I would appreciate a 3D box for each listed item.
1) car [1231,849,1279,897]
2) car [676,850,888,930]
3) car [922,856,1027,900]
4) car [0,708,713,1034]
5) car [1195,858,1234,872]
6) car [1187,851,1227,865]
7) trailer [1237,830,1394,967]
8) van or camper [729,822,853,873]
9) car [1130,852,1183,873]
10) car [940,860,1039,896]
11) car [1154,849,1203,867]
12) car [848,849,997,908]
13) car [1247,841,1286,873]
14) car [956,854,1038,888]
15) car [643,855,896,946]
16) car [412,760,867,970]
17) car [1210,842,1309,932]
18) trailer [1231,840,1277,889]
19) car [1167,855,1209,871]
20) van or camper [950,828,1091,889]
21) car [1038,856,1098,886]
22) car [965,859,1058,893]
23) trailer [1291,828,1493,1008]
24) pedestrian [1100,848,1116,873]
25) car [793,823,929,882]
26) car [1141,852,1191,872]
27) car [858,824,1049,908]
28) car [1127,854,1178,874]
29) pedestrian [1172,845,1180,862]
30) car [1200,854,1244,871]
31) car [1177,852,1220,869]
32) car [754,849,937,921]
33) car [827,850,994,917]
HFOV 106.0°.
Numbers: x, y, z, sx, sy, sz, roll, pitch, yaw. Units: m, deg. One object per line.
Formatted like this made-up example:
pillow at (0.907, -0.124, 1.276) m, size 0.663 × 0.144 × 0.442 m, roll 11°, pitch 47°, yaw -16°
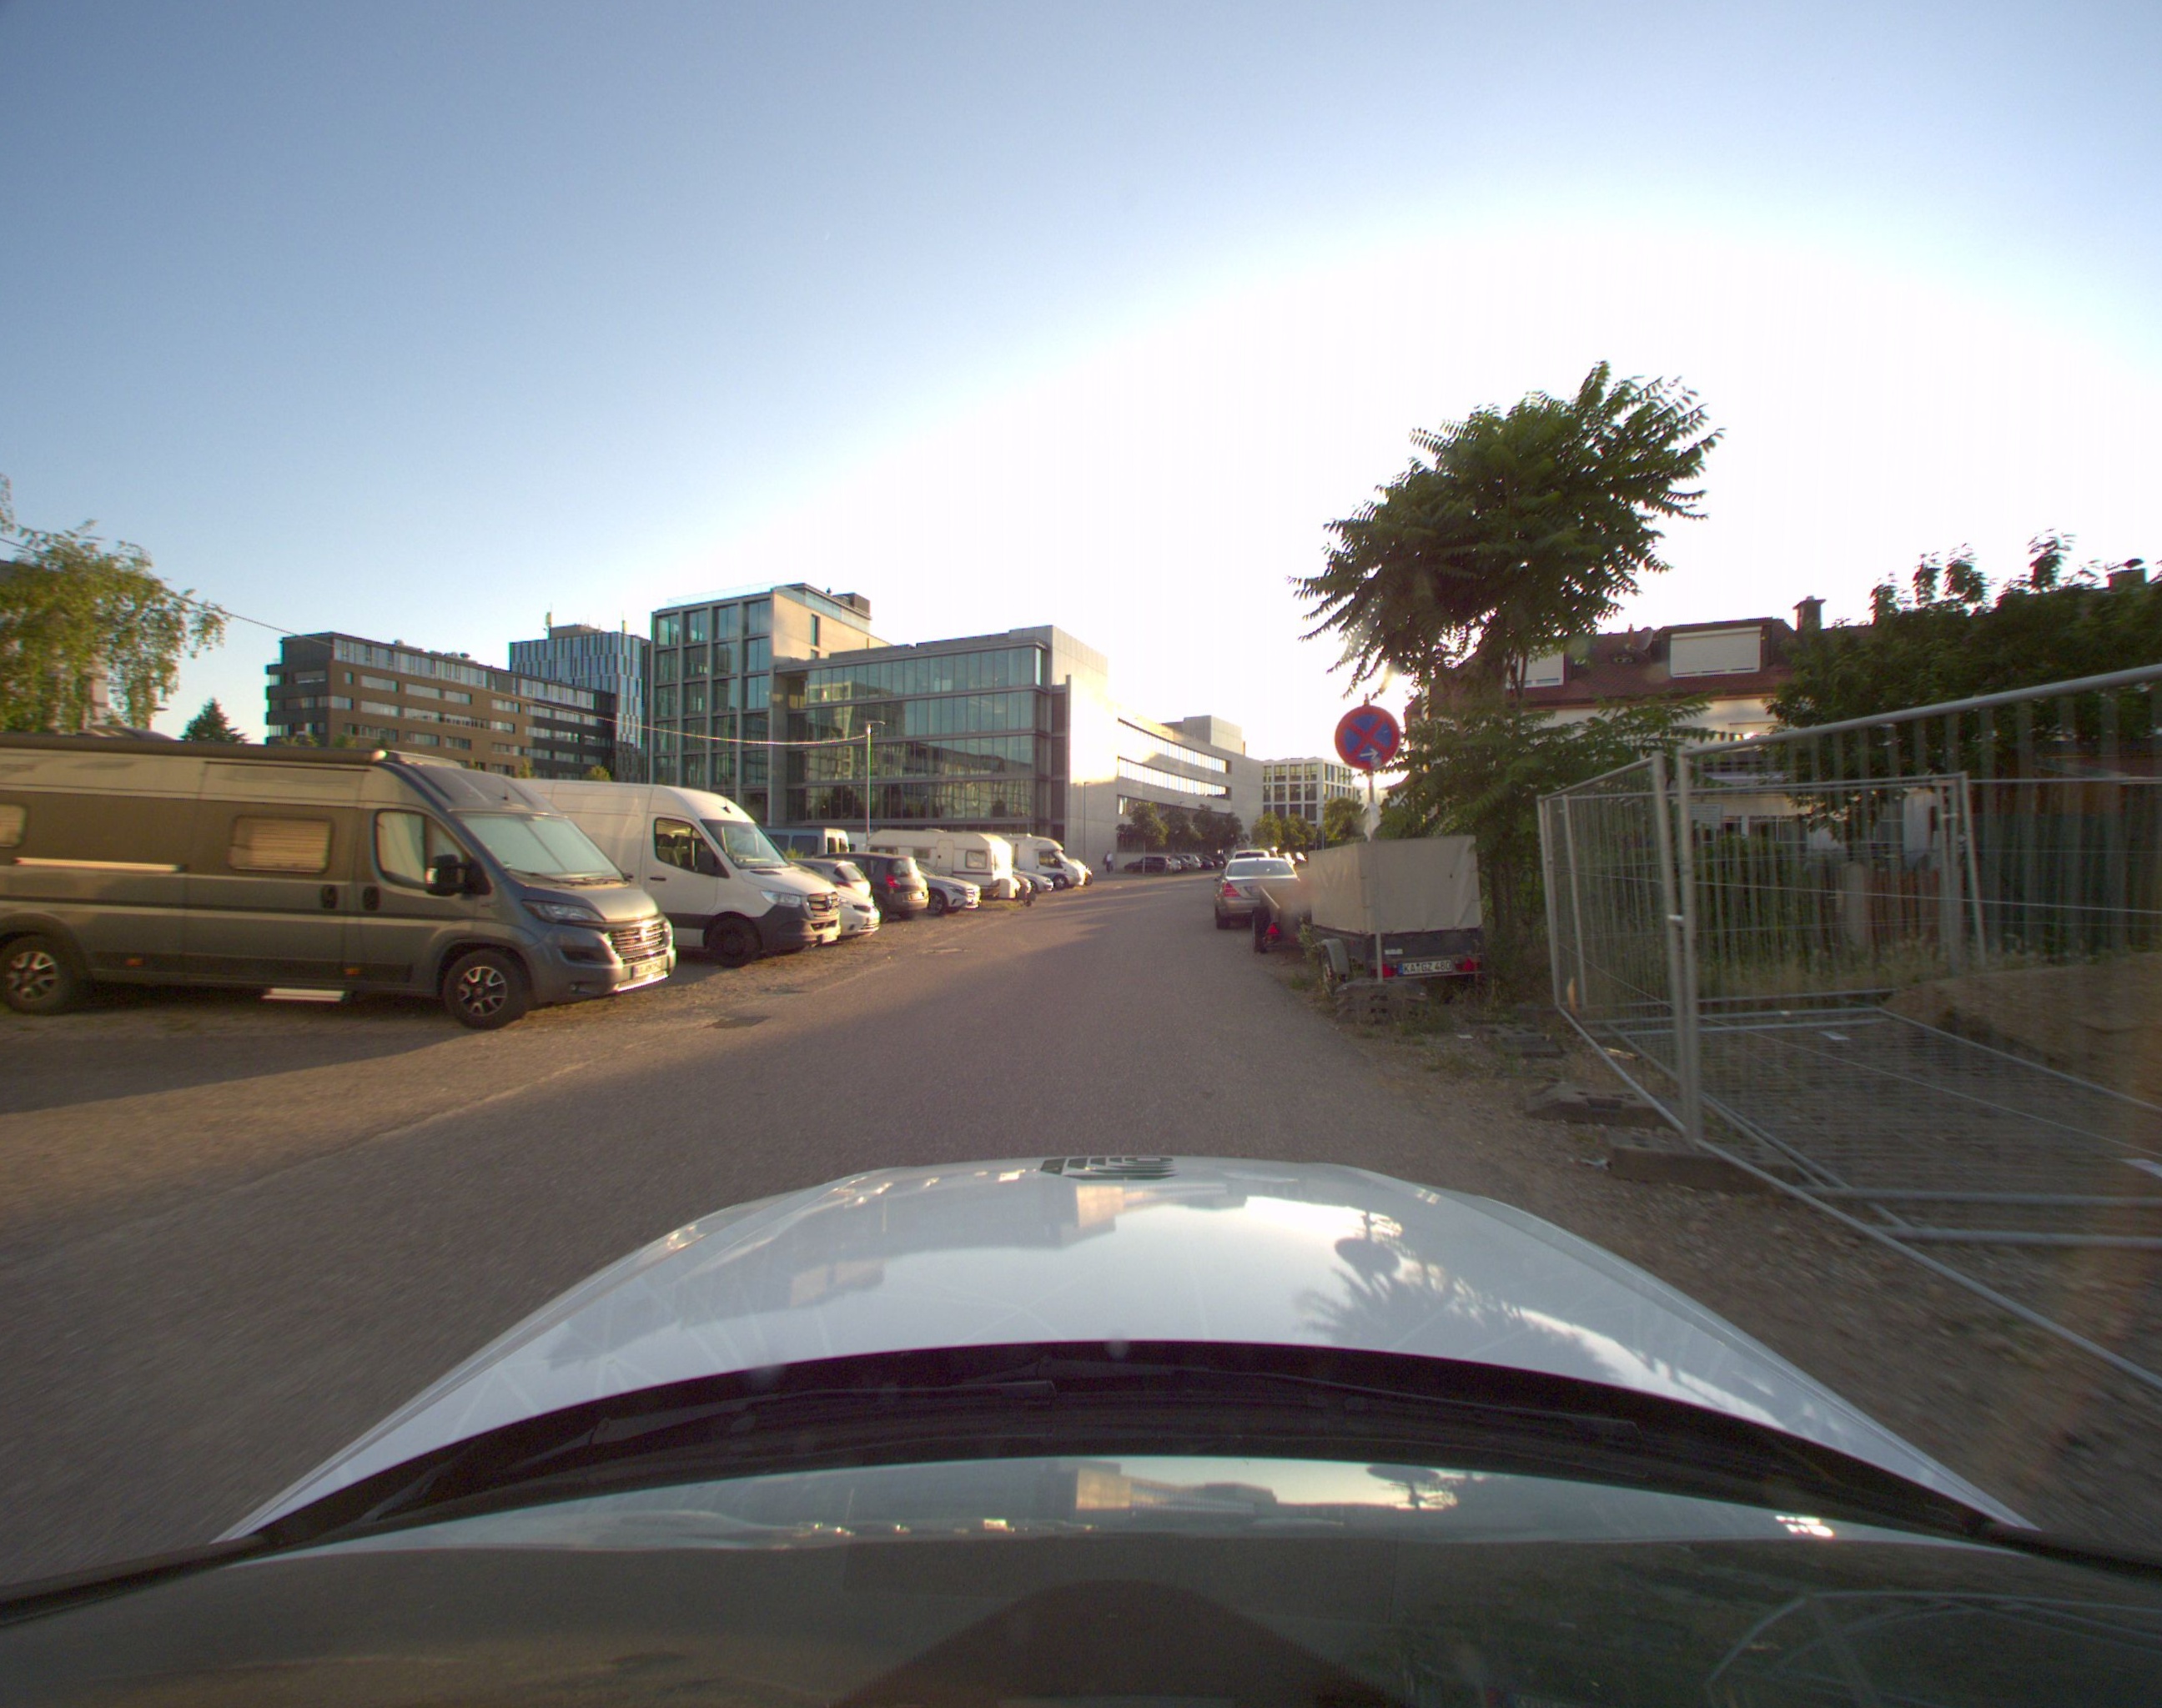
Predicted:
car at (7.216, 0.716, 33.525) m, size 1.758 × 1.831 × 4.425 m, roll -1°, pitch 0°, yaw 14°
car at (-6.438, 0.750, 17.763) m, size 3.905 × 1.591 × 1.751 m, roll 1°, pitch -1°, yaw 6°
car at (-4.038, 0.895, 31.103) m, size 3.608 × 1.519 × 1.709 m, roll 1°, pitch 0°, yaw 7°
car at (-7.514, 0.146, 8.356) m, size 6.366 × 2.713 × 2.113 m, roll 2°, pitch -1°, yaw 0°
car at (14.137, 1.169, 86.320) m, size 3.668 × 1.458 × 1.689 m, roll 1°, pitch 0°, yaw 25°
car at (12.987, 0.407, 83.949) m, size 3.669 × 1.458 × 1.721 m, roll 1°, pitch 0°, yaw 23°
trailer at (3.571, 0.595, 13.243) m, size 1.721 × 1.777 × 4.948 m, roll -2°, pitch 0°, yaw 8°
van or camper at (-11.643, -0.261, 32.800) m, size 4.305 × 1.891 × 1.940 m, roll 1°, pitch 0°, yaw 15°
car at (6.245, 0.683, 67.263) m, size 4.055 × 1.528 × 1.854 m, roll 1°, pitch 0°, yaw 16°
car at (-3.758, 0.977, 33.829) m, size 3.705 × 1.367 × 1.709 m, roll 1°, pitch 0°, yaw 7°
car at (8.824, 0.321, 73.681) m, size 3.952 × 1.511 × 1.769 m, roll 1°, pitch 1°, yaw 23°
car at (-4.896, 0.735, 25.417) m, size 4.102 × 1.591 × 1.752 m, roll 2°, pitch -1°, yaw 9°
car at (12.649, 0.202, 55.319) m, size 2.048 × 2.095 × 4.896 m, roll -1°, pitch 0°, yaw 19°
car at (-3.998, 0.804, 39.053) m, size 3.586 × 1.476 × 1.696 m, roll 1°, pitch 0°, yaw 6°
car at (-5.637, 0.800, 15.015) m, size 3.905 × 1.507 × 1.793 m, roll 1°, pitch -1°, yaw 6°
car at (-6.519, 0.125, 12.452) m, size 5.799 × 2.713 × 2.053 m, roll 2°, pitch 0°, yaw 4°
car at (3.897, 0.653, 18.506) m, size 1.796 × 1.724 × 4.939 m, roll -2°, pitch 0°, yaw 8°
trailer at (8.455, 0.464, 39.743) m, size 2.050 × 2.211 × 5.240 m, roll -1°, pitch 0°, yaw 12°
car at (9.936, 0.782, 75.426) m, size 3.604 × 1.361 × 1.694 m, roll 1°, pitch 1°, yaw 18°
van or camper at (-3.048, 0.204, 41.495) m, size 6.696 × 2.897 × 2.416 m, roll 1°, pitch 0°, yaw 12°
car at (-0.634, 0.899, 44.973) m, size 1.672 × 1.519 × 4.384 m, roll 1°, pitch 0°, yaw 22°
car at (-3.057, 0.962, 36.139) m, size 3.785 × 1.328 × 1.697 m, roll 1°, pitch 0°, yaw 9°
trailer at (3.303, 0.611, 9.102) m, size 1.245 × 1.665 × 2.805 m, roll -2°, pitch 0°, yaw 2°
pedestrian at (2.037, 0.471, 62.012) m, size 0.906 × 1.850 × 0.847 m, roll -1°, pitch 0°, yaw -36°
car at (-10.928, -0.096, 40.497) m, size 6.194 × 2.673 × 2.233 m, roll 1°, pitch 0°, yaw 16°
car at (7.235, 0.648, 69.327) m, size 3.967 × 1.512 × 1.592 m, roll 1°, pitch 2°, yaw 16°
car at (-4.273, 0.344, 27.720) m, size 5.848 × 2.533 × 2.420 m, roll 2°, pitch 1°, yaw 12°
car at (5.667, 0.760, 64.425) m, size 3.705 × 1.482 × 1.778 m, roll 1°, pitch 1°, yaw 17°
pedestrian at (10.063, -0.018, 86.298) m, size 0.640 × 1.784 × 0.729 m, roll 1°, pitch 0°, yaw 23°
car at (15.258, 0.926, 88.243) m, size 4.270 × 1.696 × 1.907 m, roll 1°, pitch 0°, yaw 25°
car at (11.402, 0.606, 79.122) m, size 3.836 × 1.511 × 1.769 m, roll 1°, pitch 1°, yaw 23°
car at (-5.710, 0.708, 19.901) m, size 3.897 × 1.591 × 1.755 m, roll 1°, pitch 0°, yaw 14°
car at (-4.686, 0.774, 22.572) m, size 4.096 × 1.590 × 1.755 m, roll 2°, pitch 0°, yaw 14°
